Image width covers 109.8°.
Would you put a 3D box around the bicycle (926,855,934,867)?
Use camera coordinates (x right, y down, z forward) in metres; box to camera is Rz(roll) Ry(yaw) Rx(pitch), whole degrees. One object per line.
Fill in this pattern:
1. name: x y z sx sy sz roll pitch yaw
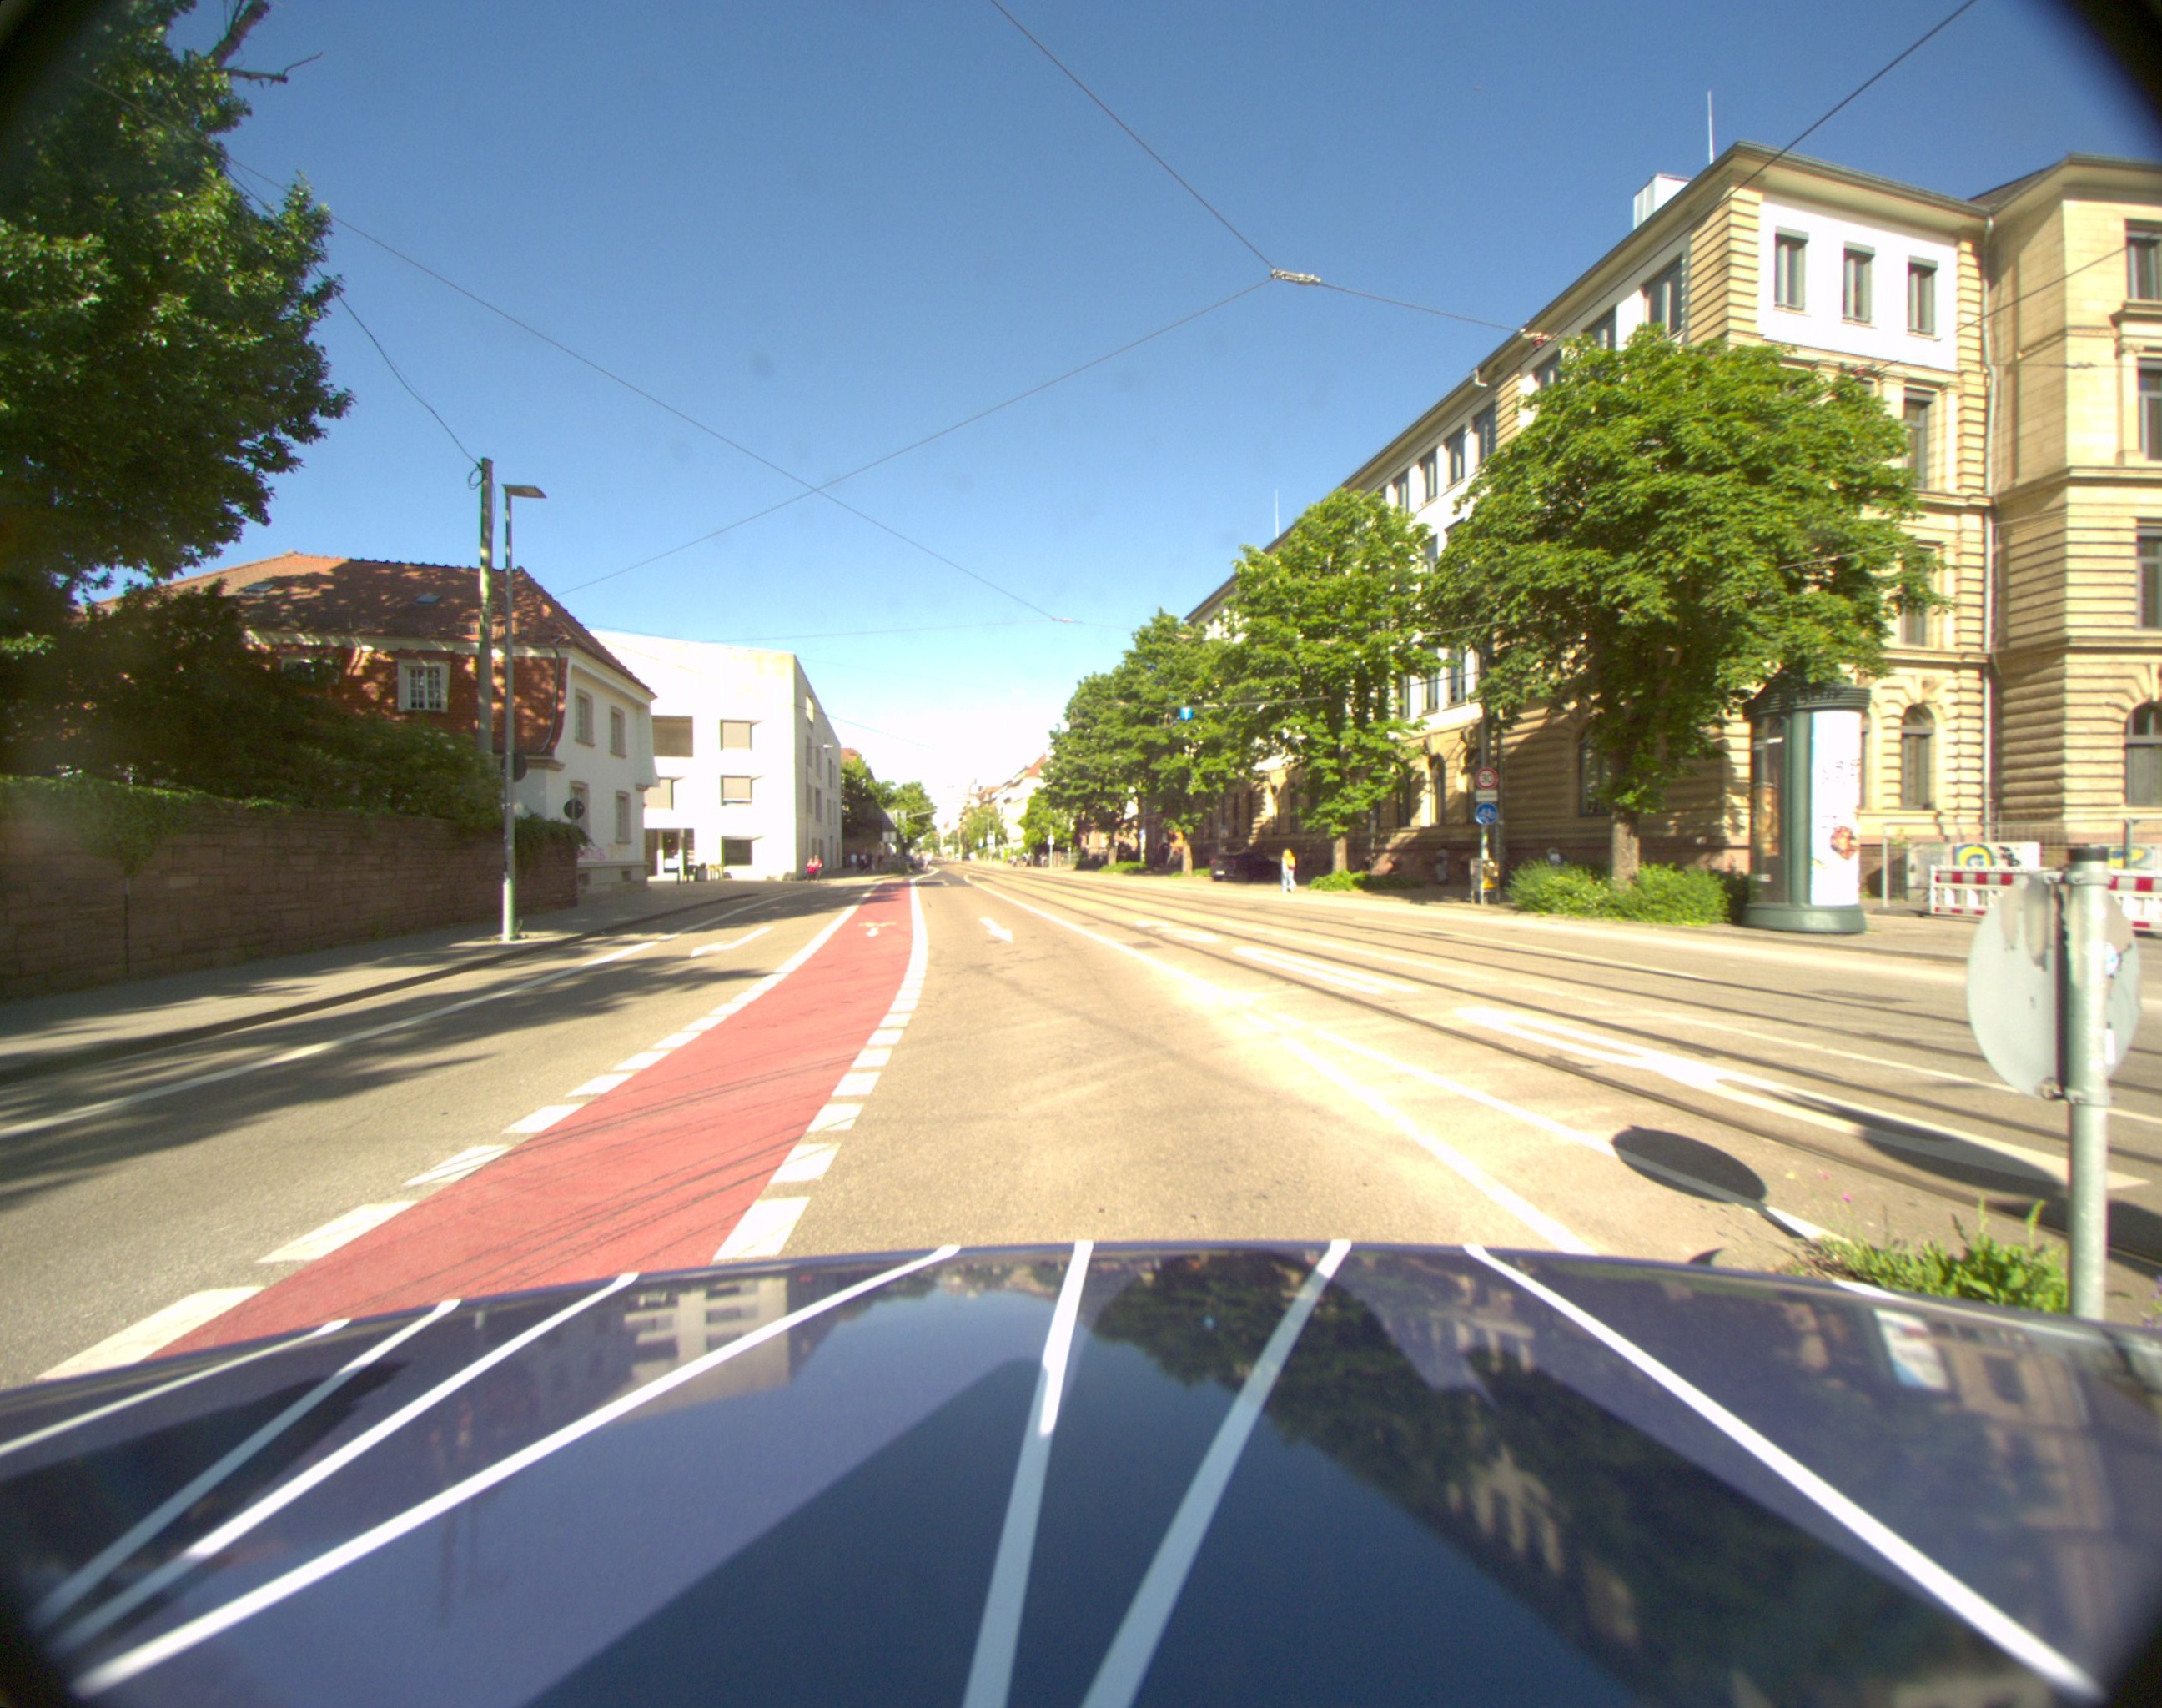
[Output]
1. bicycle: -15.417 0.741 77.416 0.665 1.146 1.670 -2 2 -8

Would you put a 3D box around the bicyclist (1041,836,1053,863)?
1. bicyclist: -3.758 -0.491 84.570 1.003 2.959 1.474 -1 2 4

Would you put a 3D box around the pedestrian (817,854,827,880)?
1. pedestrian: -15.714 0.767 46.095 0.535 1.557 0.519 -1 1 -13

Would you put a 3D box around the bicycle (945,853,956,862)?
1. bicycle: -24.462 0.699 142.082 1.005 1.672 2.977 -3 2 -28

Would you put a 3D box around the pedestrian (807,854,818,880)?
1. pedestrian: -16.343 0.781 46.257 0.535 1.557 0.519 -1 1 -13

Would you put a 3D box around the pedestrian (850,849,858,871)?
1. pedestrian: -18.557 0.465 62.050 0.588 1.795 0.545 -1 1 -13

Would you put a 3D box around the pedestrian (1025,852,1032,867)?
1. pedestrian: -6.345 0.685 92.026 0.729 1.845 0.653 0 1 -9

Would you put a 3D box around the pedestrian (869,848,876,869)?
1. pedestrian: -18.084 0.383 65.859 0.588 1.795 0.545 -1 1 -13

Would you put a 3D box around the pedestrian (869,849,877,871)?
1. pedestrian: -17.097 0.519 62.410 0.588 1.795 0.519 -1 1 -13

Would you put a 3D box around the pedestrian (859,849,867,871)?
1. pedestrian: -17.858 0.469 62.229 0.588 1.795 0.545 -1 1 -13

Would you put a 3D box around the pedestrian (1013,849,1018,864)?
1. pedestrian: -8.166 0.335 95.097 0.579 1.845 0.684 -1 1 -11

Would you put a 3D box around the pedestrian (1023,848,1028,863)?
1. pedestrian: -6.906 0.180 94.493 0.579 1.845 0.653 -1 1 -11

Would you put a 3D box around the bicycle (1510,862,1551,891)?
1. bicycle: 15.258 0.742 25.836 0.398 0.898 1.359 -2 2 -10

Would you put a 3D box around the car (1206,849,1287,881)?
1. car: 8.630 0.549 39.483 4.118 1.565 1.916 -1 1 -39

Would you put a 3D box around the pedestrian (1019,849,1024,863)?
1. pedestrian: -7.615 0.261 97.326 0.579 1.845 0.684 -1 1 -11

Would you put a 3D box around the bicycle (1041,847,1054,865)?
1. bicycle: -3.713 0.200 84.868 1.003 1.876 3.894 -1 2 4

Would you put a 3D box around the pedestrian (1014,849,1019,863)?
1. pedestrian: -8.262 0.284 97.153 0.579 1.845 0.684 -1 1 -11

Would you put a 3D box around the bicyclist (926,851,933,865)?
1. bicyclist: -15.425 0.391 77.385 0.665 1.453 0.622 -2 2 -8

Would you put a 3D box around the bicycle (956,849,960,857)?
1. bicycle: -29.729 -0.226 183.604 1.004 1.672 2.981 -2 2 -12

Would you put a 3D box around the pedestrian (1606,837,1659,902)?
1. pedestrian: 14.818 0.395 20.444 0.731 1.660 0.844 -2 4 -22

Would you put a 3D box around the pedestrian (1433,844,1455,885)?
1. pedestrian: 14.401 0.415 30.146 0.671 1.558 0.859 -3 2 22

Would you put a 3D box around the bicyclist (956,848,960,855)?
1. bicyclist: -29.742 -0.602 183.585 1.004 1.712 0.983 -2 2 -12

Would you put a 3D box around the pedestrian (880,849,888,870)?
1. pedestrian: -16.293 0.433 62.750 0.588 1.717 0.519 -1 1 -13

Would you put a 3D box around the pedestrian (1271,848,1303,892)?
1. pedestrian: 8.031 0.624 29.624 0.772 1.658 1.033 1 -3 -14

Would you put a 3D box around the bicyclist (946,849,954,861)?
1. bicyclist: -24.463 0.198 142.066 1.005 2.255 1.018 -3 2 -29

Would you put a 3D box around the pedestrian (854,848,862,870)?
1. pedestrian: -18.767 0.425 63.903 0.588 1.795 0.582 -1 1 -13

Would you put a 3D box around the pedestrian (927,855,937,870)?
1. pedestrian: -16.706 0.927 85.339 0.933 1.728 0.677 -1 1 -31

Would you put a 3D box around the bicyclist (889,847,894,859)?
1. bicyclist: -34.953 -0.181 140.337 0.813 2.194 0.983 -2 2 -10

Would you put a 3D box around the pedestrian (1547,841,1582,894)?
1. pedestrian: 14.398 0.393 22.641 0.579 1.553 0.653 -1 1 -12

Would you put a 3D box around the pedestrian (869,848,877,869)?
1. pedestrian: -17.629 0.382 64.357 0.588 1.795 0.582 -1 1 -13
